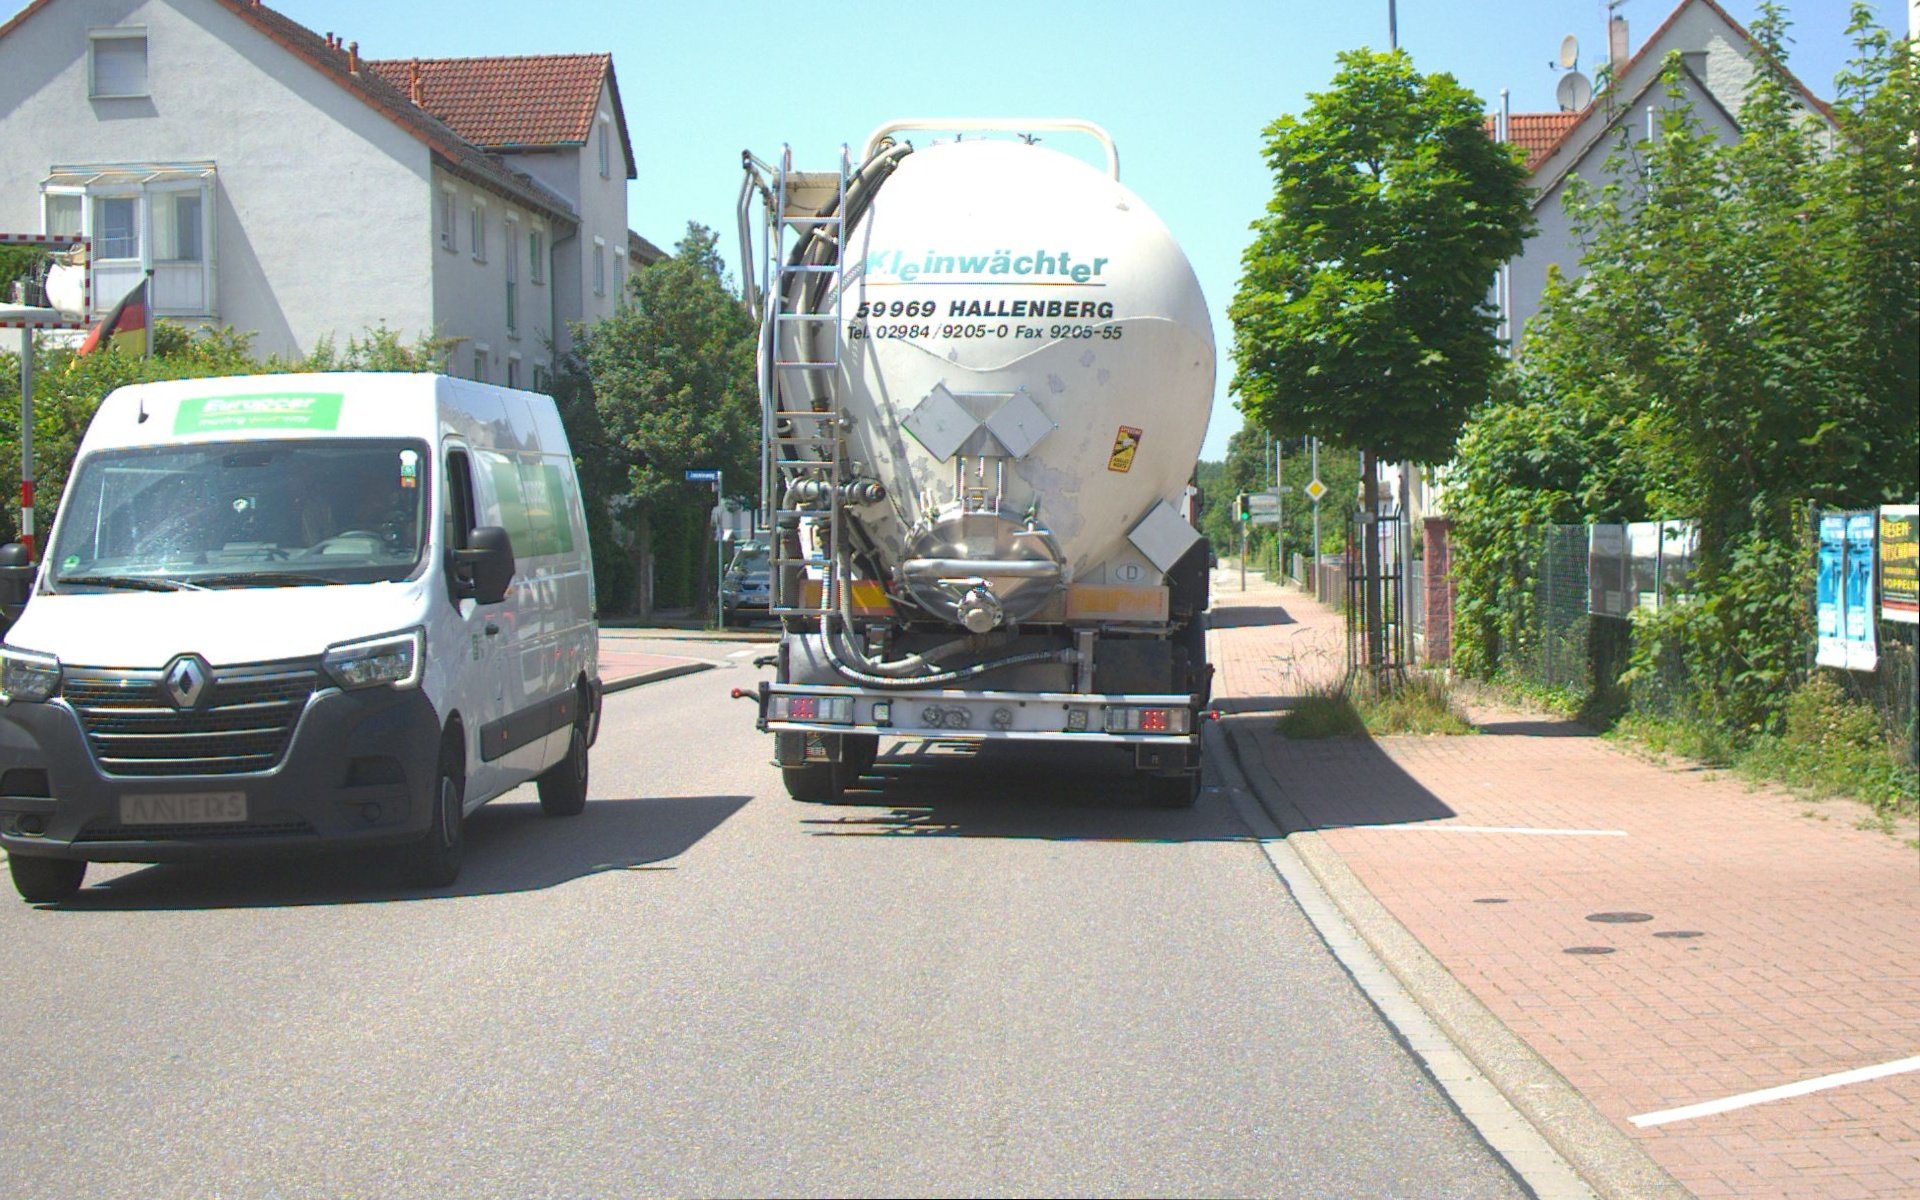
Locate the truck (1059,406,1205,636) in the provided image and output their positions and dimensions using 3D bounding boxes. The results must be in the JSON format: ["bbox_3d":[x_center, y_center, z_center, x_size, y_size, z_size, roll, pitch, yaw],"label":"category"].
[{"bbox_3d":[3.484,-1.558,69.304,2.641,4.210,12.092,0,1,3],"label":"truck"}]

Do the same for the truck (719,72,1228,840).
[{"bbox_3d":[0.157,-0.837,22.817,2.641,4.002,9.561,0,1,1],"label":"truck"}]

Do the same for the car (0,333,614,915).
[{"bbox_3d":[-3.241,0.058,17.795,2.029,2.452,6.068,-2,1,2],"label":"car"}]

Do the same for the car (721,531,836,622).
[{"bbox_3d":[-3.448,-0.483,66.000,1.706,1.681,4.525,0,1,3],"label":"car"}]

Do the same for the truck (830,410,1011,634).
[{"bbox_3d":[-0.589,-1.416,62.973,2.567,3.688,10.077,-2,1,3],"label":"truck"}]
